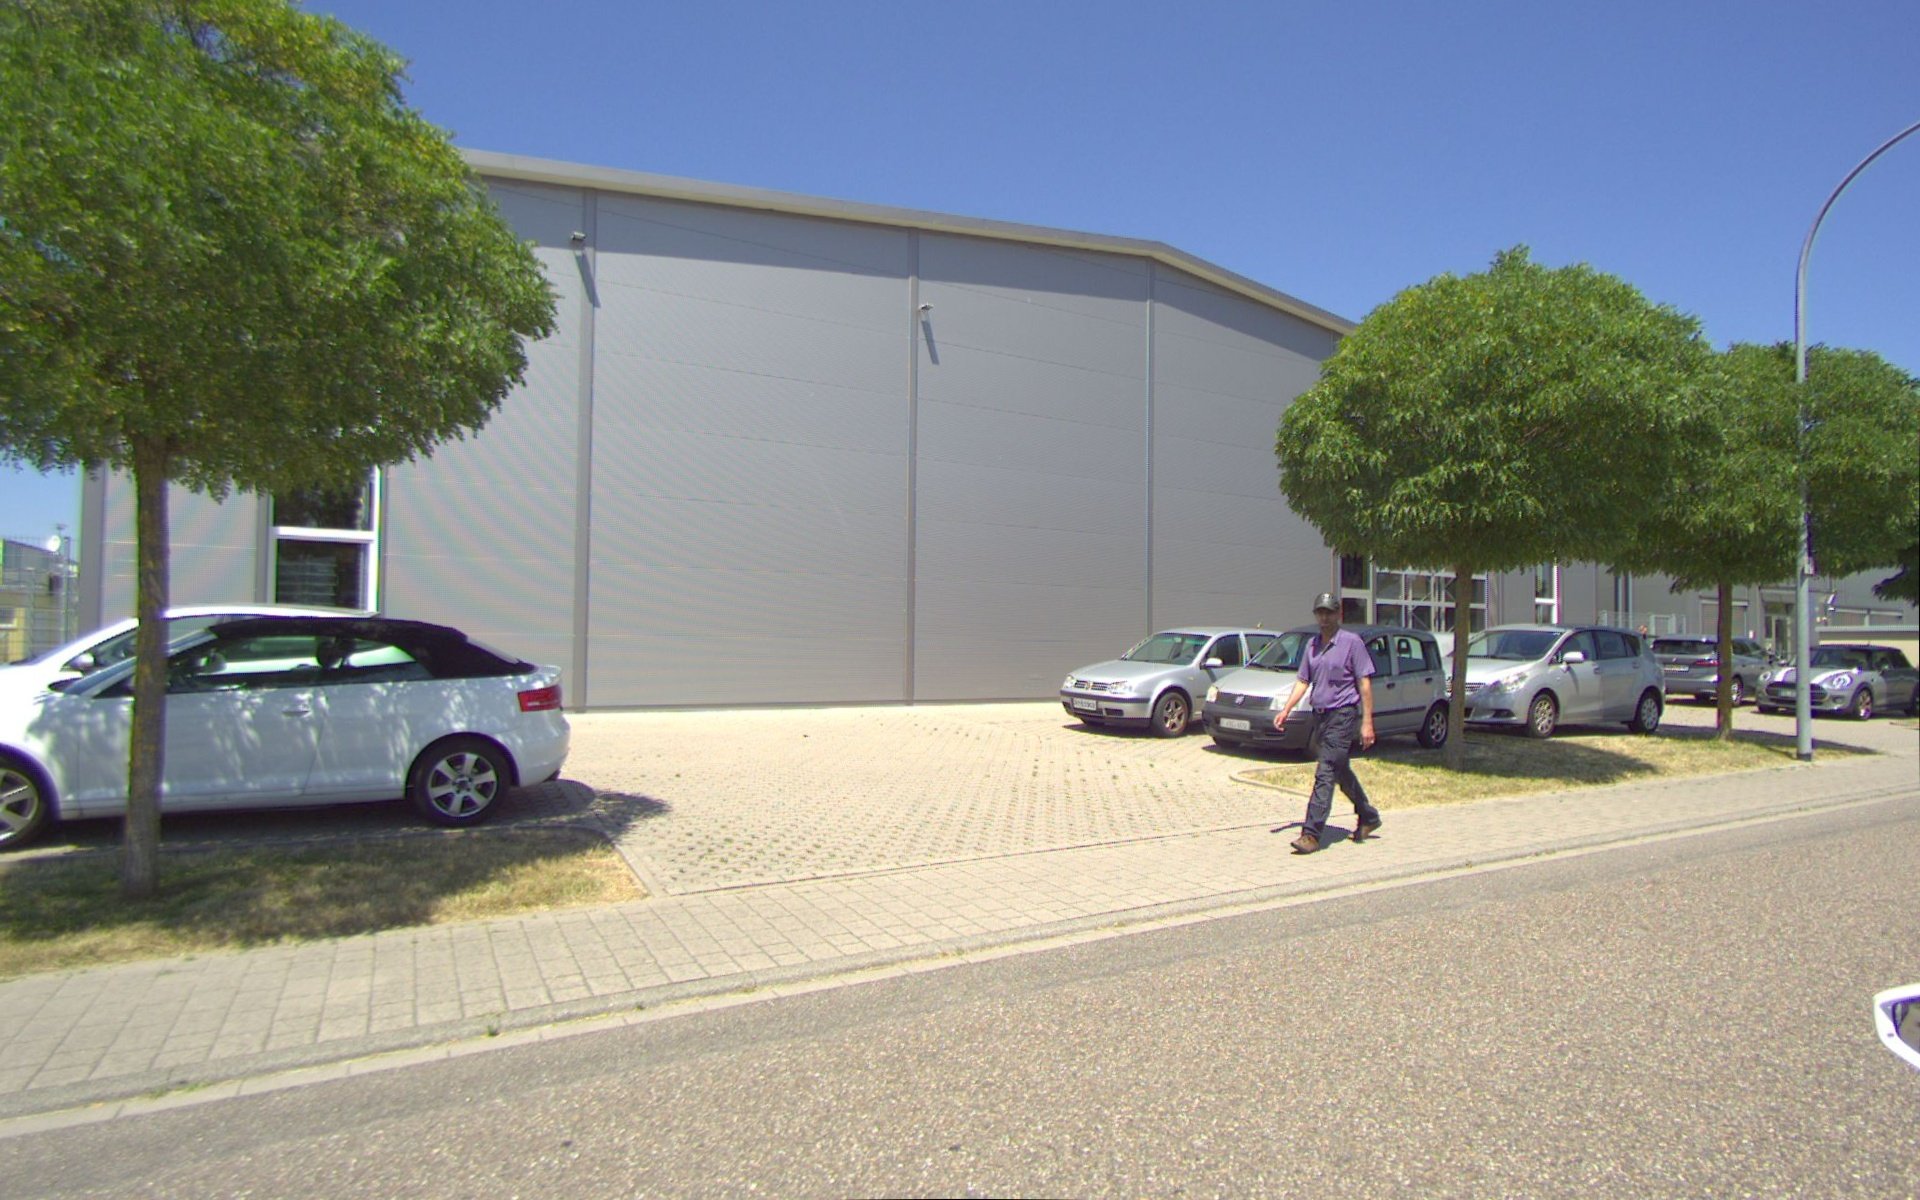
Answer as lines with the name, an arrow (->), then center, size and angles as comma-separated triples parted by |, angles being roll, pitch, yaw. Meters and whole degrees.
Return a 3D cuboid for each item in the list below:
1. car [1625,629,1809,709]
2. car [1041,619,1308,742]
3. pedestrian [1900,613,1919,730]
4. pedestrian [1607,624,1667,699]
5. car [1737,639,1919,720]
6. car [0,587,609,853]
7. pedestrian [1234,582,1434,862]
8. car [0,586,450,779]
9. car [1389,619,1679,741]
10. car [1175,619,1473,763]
car -> 17.205, 1.528, 22.801 | 4.295, 1.649, 1.728 | 2, -1, -29
car -> 3.117, 1.084, 14.383 | 3.667, 1.520, 1.672 | 2, -1, -34
pedestrian -> 16.853, 1.225, 17.077 | 0.945, 1.998, 0.843 | 1, -1, 11
pedestrian -> 16.218, 1.459, 24.061 | 0.953, 1.736, 0.836 | 2, -1, -30
car -> 17.865, 1.577, 20.540 | 3.793, 1.472, 1.758 | 2, -1, -29
car -> -4.873, 0.743, 7.116 | 4.273, 1.519, 1.817 | 2, -2, -28
pedestrian -> 2.654, 0.811, 7.141 | 1.120, 1.825, 0.742 | 2, 0, -28
car -> -7.054, 0.676, 9.215 | 4.205, 1.520, 1.817 | 2, 0, -28
car -> 8.710, 1.137, 15.154 | 4.485, 1.594, 1.758 | 2, -1, -29
car -> 4.556, 1.034, 12.424 | 3.667, 1.520, 1.672 | 2, -2, -35
